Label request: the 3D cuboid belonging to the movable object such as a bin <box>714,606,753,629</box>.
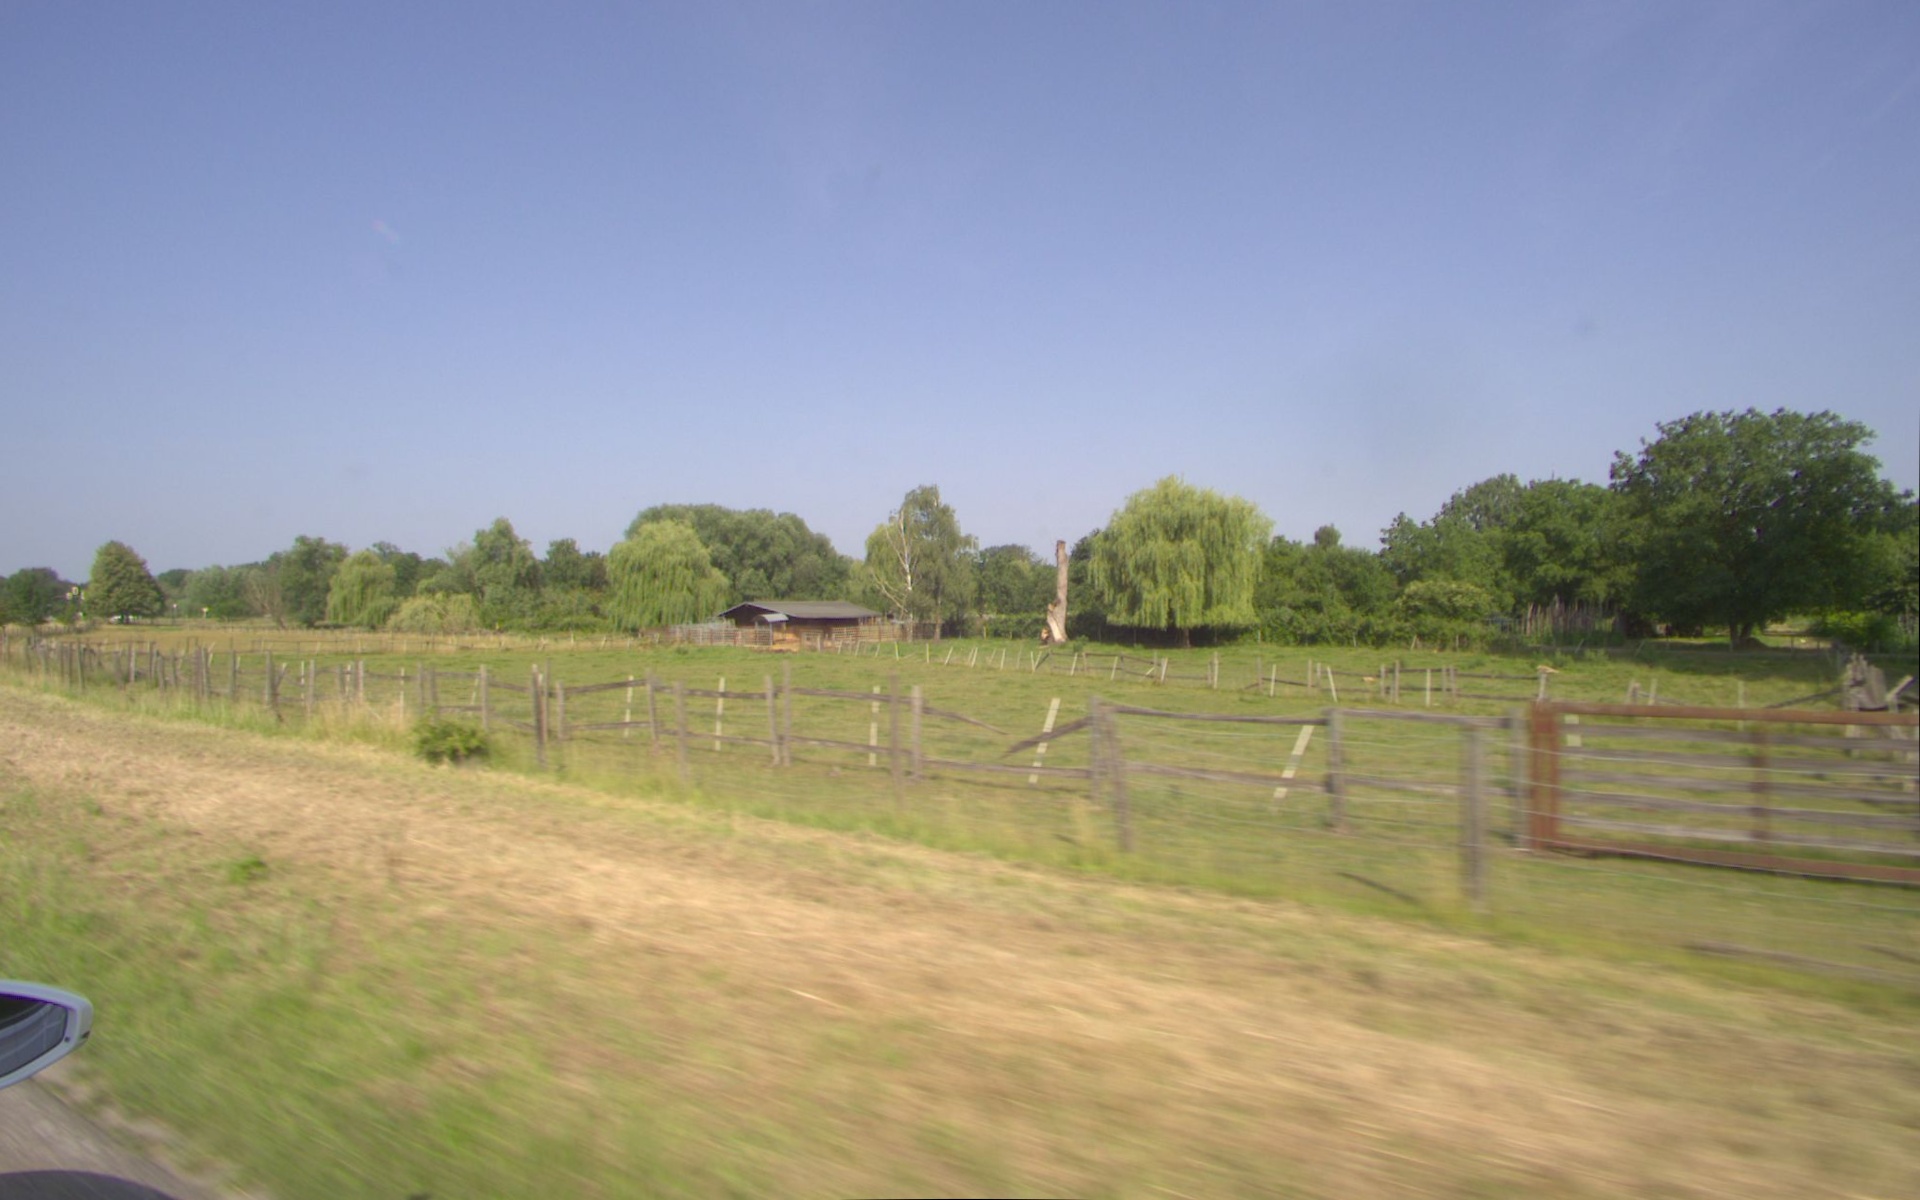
[{"bbox_3d":[-22.581,1.762,99.820,1.981,2.222,4.122,1,-1,-45],"label":"movable object such as a bin"}]
